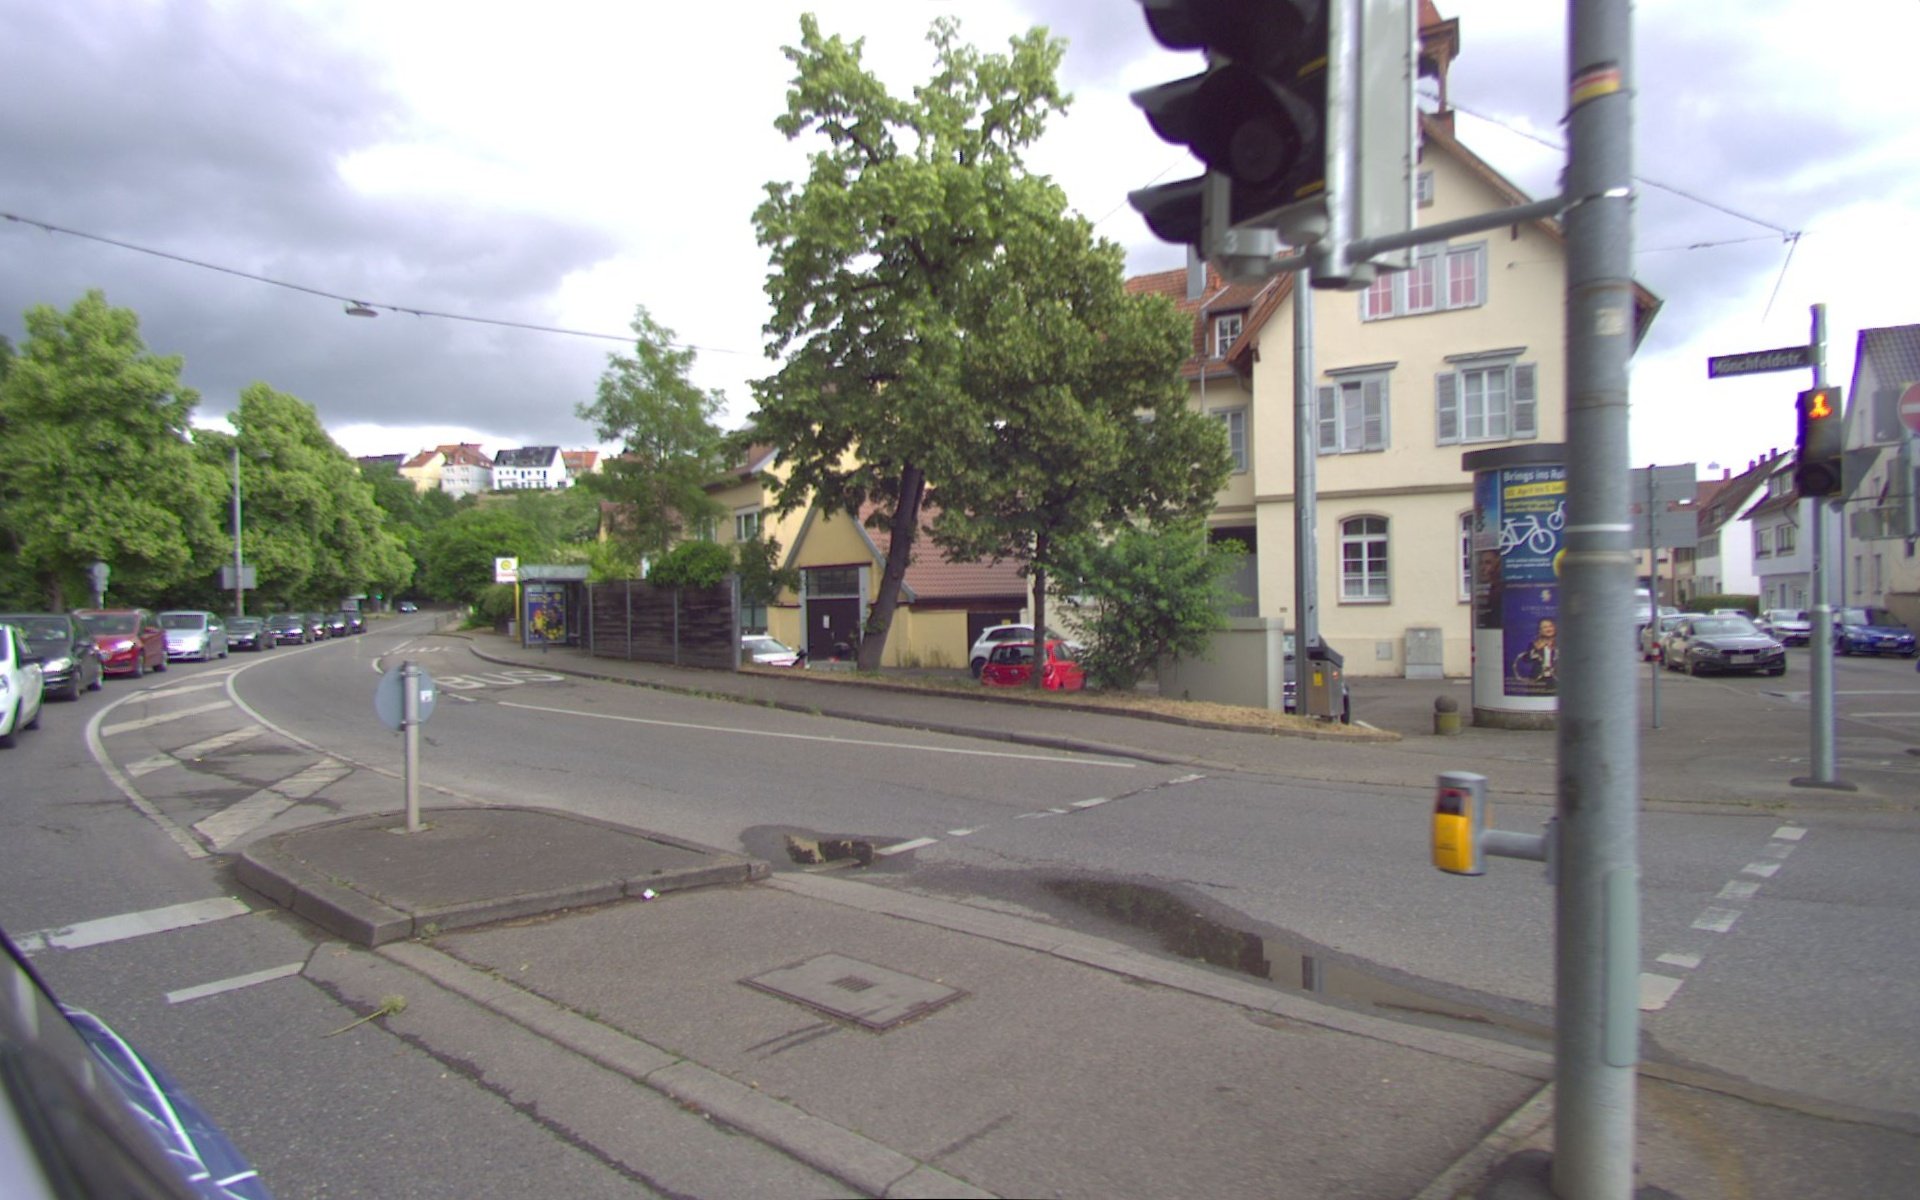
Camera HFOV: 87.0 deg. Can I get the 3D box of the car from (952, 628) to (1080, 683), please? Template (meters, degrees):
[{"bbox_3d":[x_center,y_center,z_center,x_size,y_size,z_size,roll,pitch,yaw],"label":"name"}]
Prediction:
[{"bbox_3d":[1.662,1.605,30.042,3.462,1.503,1.640,-1,-1,26],"label":"car"}]

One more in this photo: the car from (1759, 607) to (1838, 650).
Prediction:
[{"bbox_3d":[32.649,1.079,39.508,1.759,1.565,3.676,-1,0,30],"label":"car"}]

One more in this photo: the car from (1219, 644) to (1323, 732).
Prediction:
[{"bbox_3d":[5.280,1.441,17.474,1.469,1.320,3.384,-1,-2,14],"label":"car"}]

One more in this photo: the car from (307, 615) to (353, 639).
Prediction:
[{"bbox_3d":[-35.970,1.525,57.851,1.617,1.278,3.637,0,-1,-23],"label":"car"}]

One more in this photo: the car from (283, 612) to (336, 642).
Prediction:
[{"bbox_3d":[-33.643,1.363,52.444,1.678,1.457,3.880,0,-1,-23],"label":"car"}]

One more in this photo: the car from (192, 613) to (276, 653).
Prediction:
[{"bbox_3d":[-28.512,1.251,39.867,1.823,1.468,4.013,0,-1,-23],"label":"car"}]

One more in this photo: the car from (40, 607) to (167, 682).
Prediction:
[{"bbox_3d":[-20.657,0.999,24.566,1.647,1.654,4.113,0,-1,-30],"label":"car"}]

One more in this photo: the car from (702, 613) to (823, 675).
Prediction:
[{"bbox_3d":[-5.777,1.204,29.268,1.870,1.640,4.009,0,0,-37],"label":"car"}]

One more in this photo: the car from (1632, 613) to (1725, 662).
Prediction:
[{"bbox_3d":[21.056,1.058,29.808,1.704,1.325,3.828,0,-1,27],"label":"car"}]

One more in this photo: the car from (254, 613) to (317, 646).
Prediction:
[{"bbox_3d":[-30.801,1.317,46.309,1.668,1.422,3.995,0,-1,-23],"label":"car"}]

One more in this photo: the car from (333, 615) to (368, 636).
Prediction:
[{"bbox_3d":[-38.342,1.611,63.681,1.396,1.259,3.306,0,-1,-23],"label":"car"}]

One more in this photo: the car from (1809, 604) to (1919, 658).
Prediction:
[{"bbox_3d":[27.974,0.910,31.201,1.817,1.526,3.638,-1,0,24],"label":"car"}]

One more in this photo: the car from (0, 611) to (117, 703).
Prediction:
[{"bbox_3d":[-17.088,0.979,18.811,1.702,1.532,4.011,0,-1,-33],"label":"car"}]

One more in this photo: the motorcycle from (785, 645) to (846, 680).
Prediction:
[{"bbox_3d":[-3.729,1.611,26.193,1.558,0.830,0.419,0,-1,-36],"label":"motorcycle"}]

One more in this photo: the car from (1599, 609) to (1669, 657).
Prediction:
[{"bbox_3d":[25.371,1.210,38.201,1.737,1.696,3.808,-1,-1,27],"label":"car"}]

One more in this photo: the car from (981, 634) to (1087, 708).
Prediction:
[{"bbox_3d":[1.666,1.448,21.712,1.585,1.363,3.611,0,-1,16],"label":"car"}]

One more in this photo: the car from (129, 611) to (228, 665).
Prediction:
[{"bbox_3d":[-24.666,1.141,32.095,1.753,1.580,4.013,0,-1,-27],"label":"car"}]

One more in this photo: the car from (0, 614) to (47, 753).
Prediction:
[{"bbox_3d":[-12.403,0.941,12.322,1.603,1.520,4.008,0,-1,-38],"label":"car"}]
